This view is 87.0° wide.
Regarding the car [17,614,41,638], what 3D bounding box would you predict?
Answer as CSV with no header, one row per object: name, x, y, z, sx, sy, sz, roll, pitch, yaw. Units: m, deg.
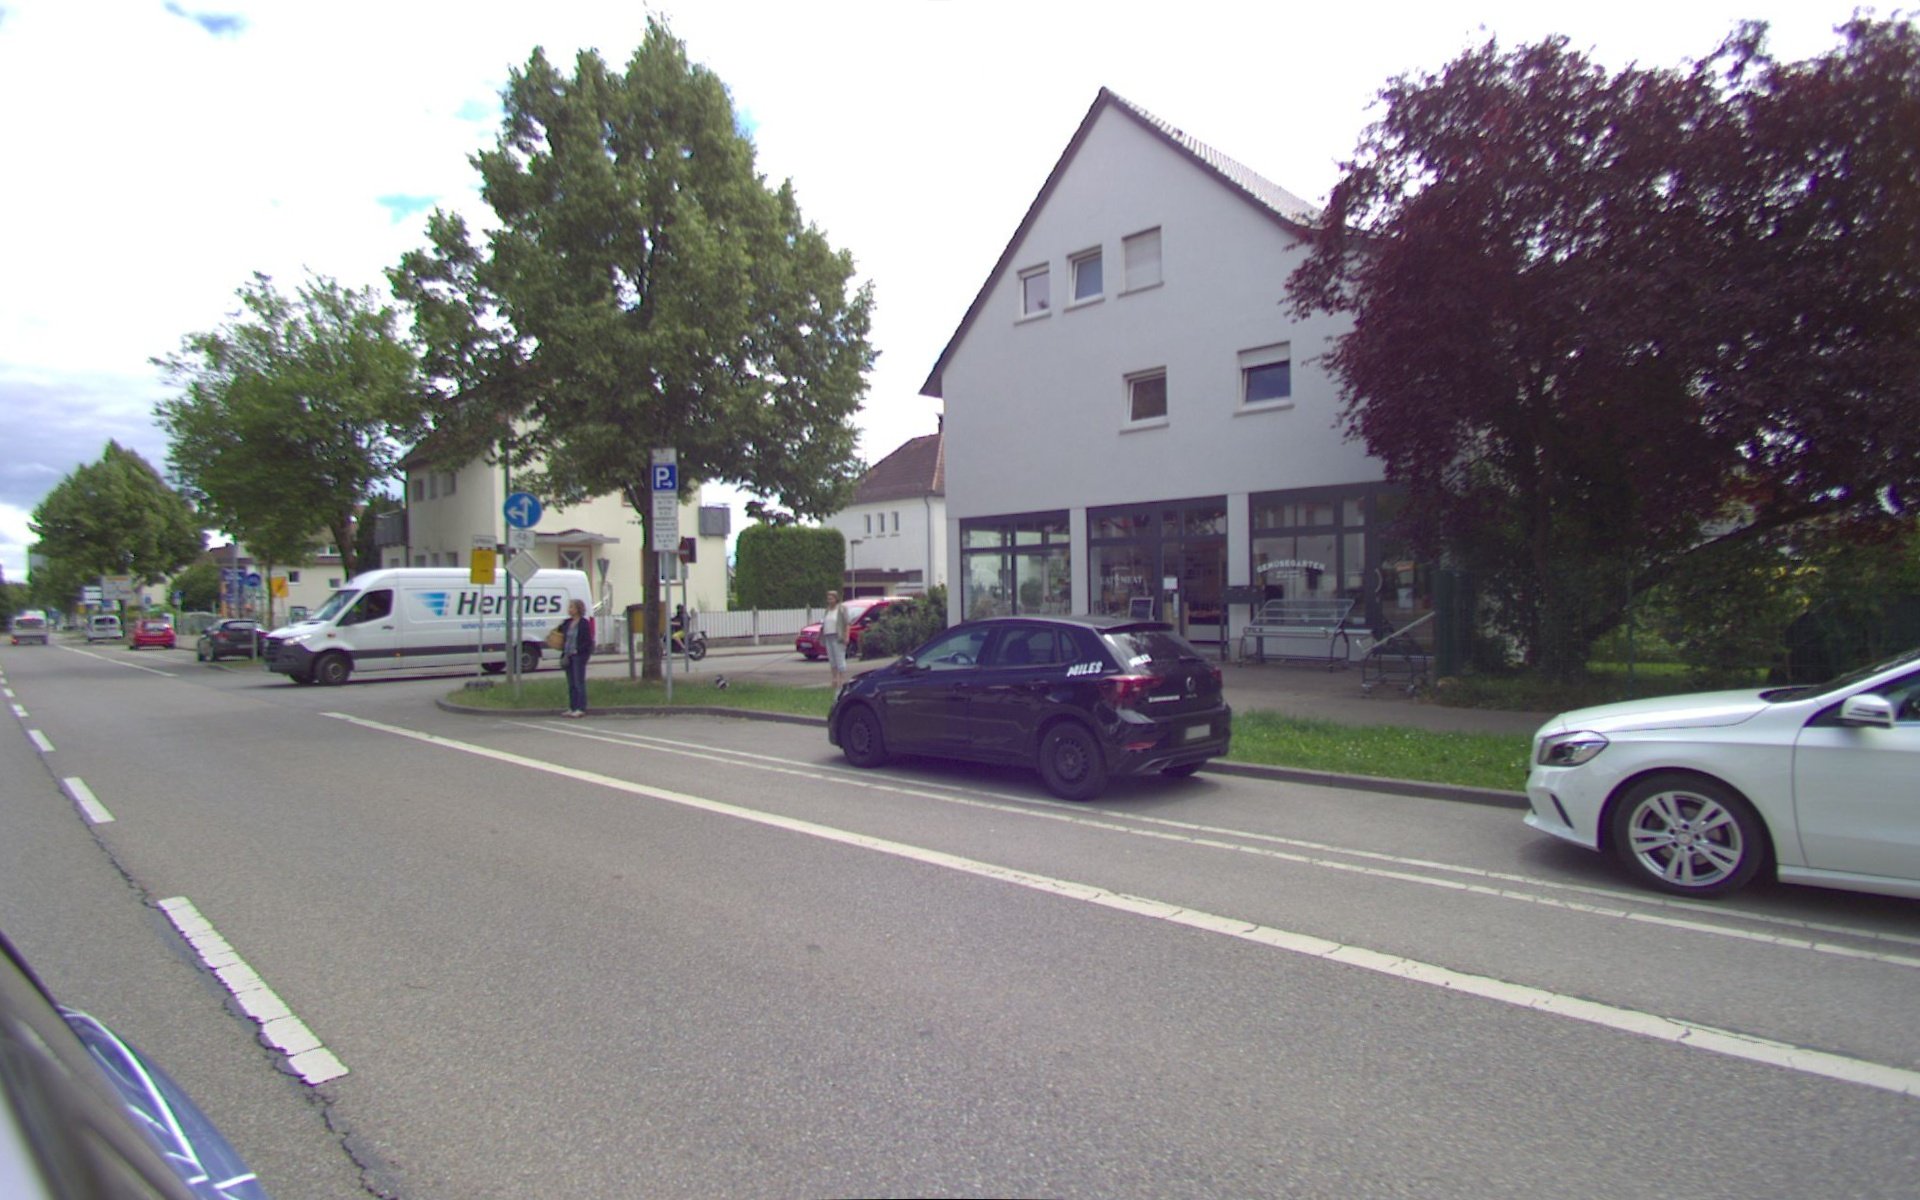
car,-109.385,3.064,118.906,1.995,2.694,5.811,-1,-1,-43

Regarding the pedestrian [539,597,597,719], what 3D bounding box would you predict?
pedestrian,-5.699,0.833,14.701,0.535,1.694,0.752,-2,-1,-37

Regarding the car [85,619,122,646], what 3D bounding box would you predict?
car,-60.153,2.267,71.038,1.749,1.784,4.555,-1,-1,-43

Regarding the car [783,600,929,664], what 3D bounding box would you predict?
car,-3.094,0.917,30.844,1.872,1.791,4.302,1,0,41

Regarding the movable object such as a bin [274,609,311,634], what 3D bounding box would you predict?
movable object such as a bin,-61.168,2.001,92.768,4.363,2.204,1.875,-2,-1,43

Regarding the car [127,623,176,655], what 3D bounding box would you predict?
car,-41.838,1.971,52.332,1.665,1.553,4.136,0,-1,-43

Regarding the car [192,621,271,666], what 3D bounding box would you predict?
car,-25.995,1.519,36.067,1.711,1.480,4.304,0,-1,-44

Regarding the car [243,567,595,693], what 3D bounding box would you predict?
car,-12.777,0.626,24.546,2.219,2.614,7.212,-2,-1,41

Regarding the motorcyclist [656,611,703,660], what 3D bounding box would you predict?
motorcyclist,-8.210,1.032,29.669,0.753,1.375,1.094,-2,-1,43

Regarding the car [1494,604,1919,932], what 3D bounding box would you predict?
car,5.084,0.725,4.678,1.694,1.417,4.304,0,-1,-43

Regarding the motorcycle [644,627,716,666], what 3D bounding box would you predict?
motorcycle,-8.210,1.344,29.714,0.481,1.039,2.089,-2,-1,43

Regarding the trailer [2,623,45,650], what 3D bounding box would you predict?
trailer,-61.680,2.365,66.618,4.691,1.689,1.916,-2,-1,45

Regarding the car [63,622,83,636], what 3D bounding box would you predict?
car,-112.503,3.655,128.321,1.726,1.648,4.050,-1,0,-44

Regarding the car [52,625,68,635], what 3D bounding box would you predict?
car,-138.505,4.566,155.697,3.748,1.486,1.642,-2,-1,45

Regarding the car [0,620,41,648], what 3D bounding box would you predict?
car,-65.024,2.345,69.971,4.821,1.844,1.944,-2,-1,45

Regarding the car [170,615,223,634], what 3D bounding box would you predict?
car,-74.026,2.347,98.116,3.873,1.674,1.857,-3,2,-45

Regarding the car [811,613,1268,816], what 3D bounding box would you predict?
car,0.530,0.851,9.149,4.022,1.431,1.624,-2,-1,45

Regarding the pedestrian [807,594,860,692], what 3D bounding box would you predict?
pedestrian,-2.089,0.692,16.635,0.425,1.563,0.806,-1,0,-45
